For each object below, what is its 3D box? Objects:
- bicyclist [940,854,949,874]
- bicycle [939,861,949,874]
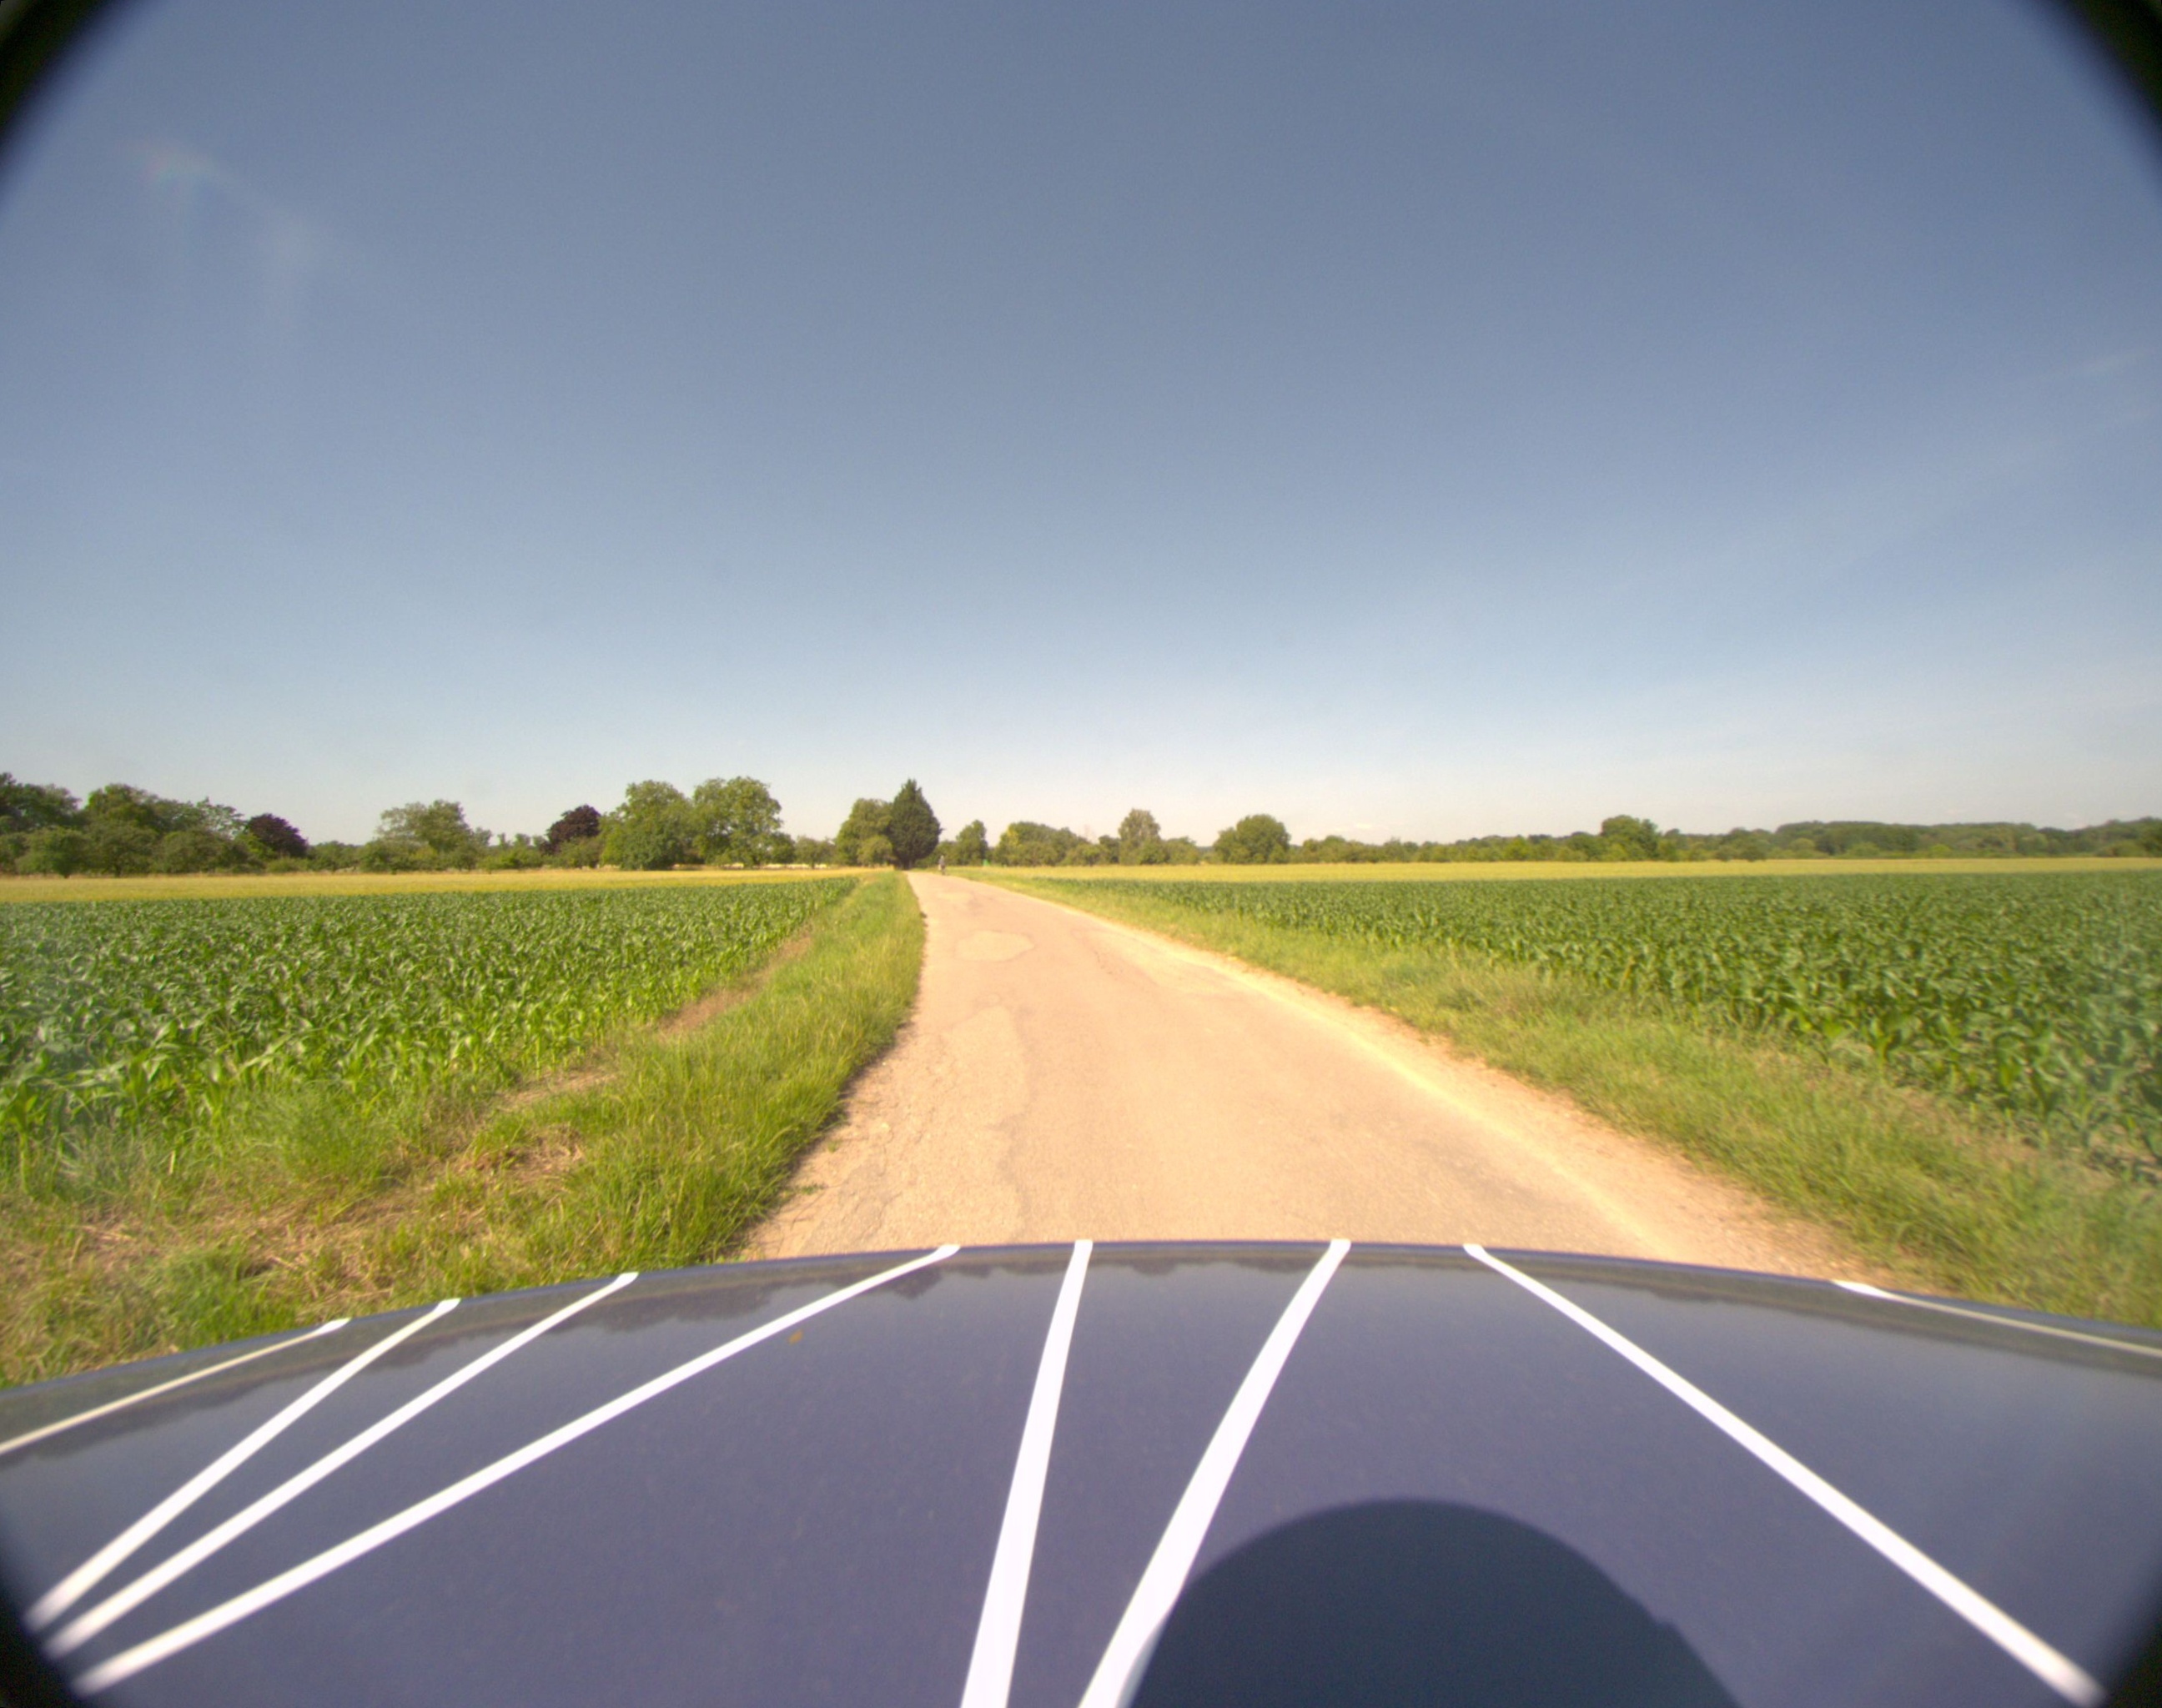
[{"bbox_3d":[-12.592,0.904,69.940,0.753,1.781,0.716,1,0,-6],"label":"bicyclist"},{"bbox_3d":[-12.596,1.238,69.946,0.753,1.121,1.907,1,0,-6],"label":"bicycle"}]
